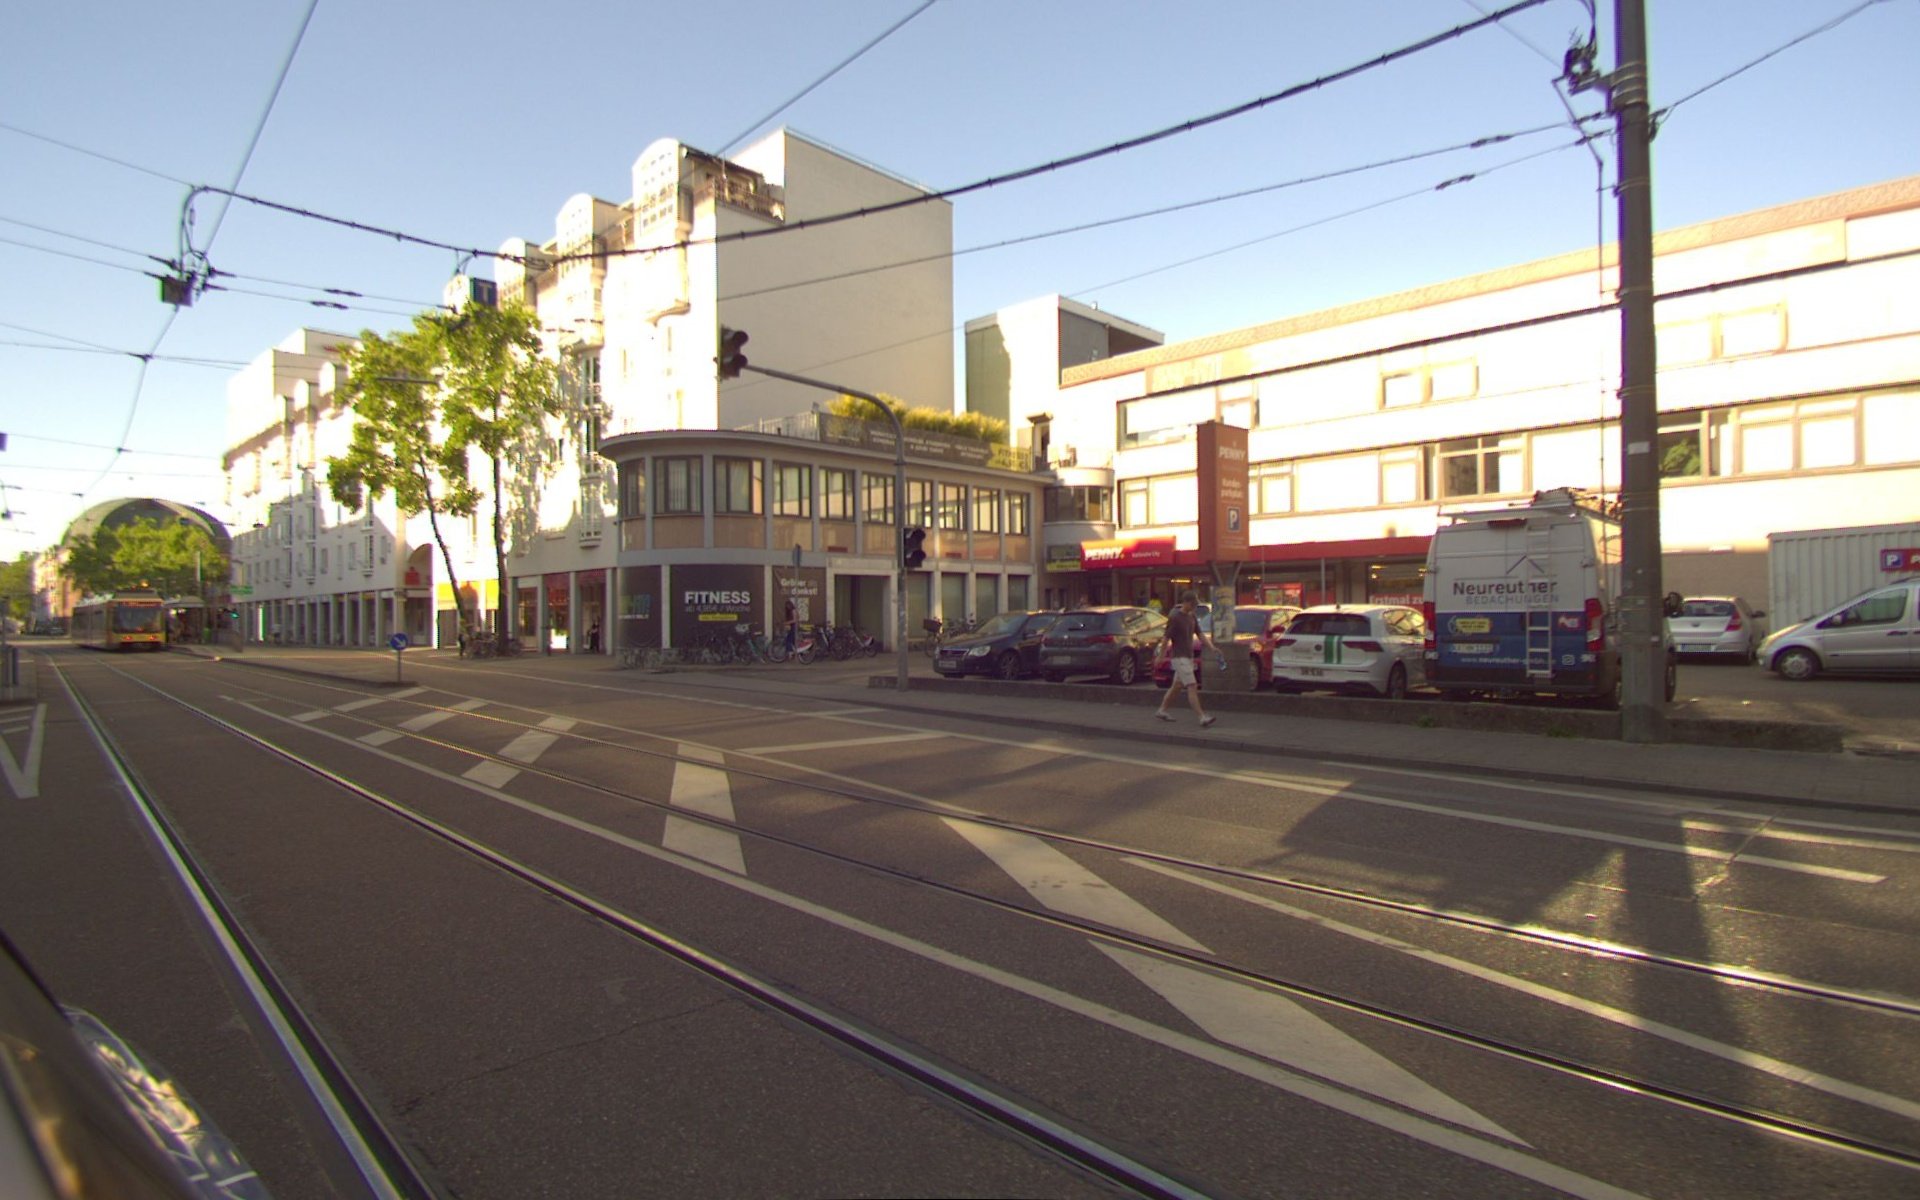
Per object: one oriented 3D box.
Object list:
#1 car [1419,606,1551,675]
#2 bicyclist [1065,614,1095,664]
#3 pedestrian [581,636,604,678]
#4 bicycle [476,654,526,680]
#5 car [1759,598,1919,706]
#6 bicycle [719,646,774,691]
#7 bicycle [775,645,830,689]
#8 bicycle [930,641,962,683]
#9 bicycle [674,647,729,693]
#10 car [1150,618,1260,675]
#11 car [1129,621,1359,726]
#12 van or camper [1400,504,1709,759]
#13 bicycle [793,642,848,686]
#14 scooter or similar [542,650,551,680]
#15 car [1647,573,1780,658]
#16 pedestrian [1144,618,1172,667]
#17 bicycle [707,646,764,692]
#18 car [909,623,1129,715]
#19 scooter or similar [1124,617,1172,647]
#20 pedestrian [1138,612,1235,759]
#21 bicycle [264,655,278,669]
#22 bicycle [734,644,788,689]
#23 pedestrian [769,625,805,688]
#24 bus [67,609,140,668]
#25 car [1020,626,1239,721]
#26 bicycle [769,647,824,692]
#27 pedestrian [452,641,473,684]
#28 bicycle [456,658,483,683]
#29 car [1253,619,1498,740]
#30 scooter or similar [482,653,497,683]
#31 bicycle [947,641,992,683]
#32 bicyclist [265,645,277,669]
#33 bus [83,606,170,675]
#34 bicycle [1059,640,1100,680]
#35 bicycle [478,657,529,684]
[{"bbox_3d":[13.241,0.956,25.422,2.000,1.519,3.944,-1,0,42],"label":"car"},{"bbox_3d":[3.840,1.256,32.333,0.688,1.561,0.829,-2,-1,28],"label":"bicyclist"},{"bbox_3d":[-15.524,2.377,42.715,0.622,1.729,0.826,-1,-1,-44],"label":"pedestrian"},{"bbox_3d":[-19.134,2.781,42.210,1.822,0.919,0.390,-3,0,-40],"label":"bicycle"},{"bbox_3d":[16.345,0.852,17.243,4.121,1.749,1.972,-2,-1,43],"label":"car"},{"bbox_3d":[-5.855,1.856,27.720,1.831,1.196,0.443,-2,-1,42],"label":"bicycle"},{"bbox_3d":[-4.448,1.878,28.522,1.831,1.196,0.443,-2,-1,42],"label":"bicycle"},{"bbox_3d":[-0.432,1.928,31.801,0.452,1.196,1.821,-2,-1,17],"label":"bicycle"},{"bbox_3d":[-7.084,1.908,27.675,1.829,1.196,0.441,-2,-1,39],"label":"bicycle"},{"bbox_3d":[7.441,1.359,30.416,1.873,1.486,4.553,-2,-1,32],"label":"car"},{"bbox_3d":[5.078,1.178,17.710,1.880,1.486,4.536,-2,-1,45],"label":"car"},{"bbox_3d":[8.439,0.354,14.089,5.542,2.848,2.316,-1,-1,-45],"label":"van or camper"},{"bbox_3d":[-4.000,1.820,28.946,1.831,1.196,0.443,-2,-1,42],"label":"bicycle"},{"bbox_3d":[-16.877,2.642,41.285,0.330,1.120,1.184,-1,0,-22],"label":"scooter or similar"},{"bbox_3d":[16.793,0.294,22.475,2.000,1.713,3.944,-2,0,42],"label":"car"},{"bbox_3d":[7.063,1.515,36.173,0.683,1.710,0.669,-3,-1,44],"label":"pedestrian"},{"bbox_3d":[-6.092,1.851,27.385,1.829,1.196,0.436,-2,-1,39],"label":"bicycle"},{"bbox_3d":[1.357,1.361,21.388,1.880,1.595,4.839,-2,-1,45],"label":"car"},{"bbox_3d":[6.239,1.051,33.581,1.247,0.968,0.903,-1,0,43],"label":"scooter or similar"},{"bbox_3d":[2.990,1.097,13.388,0.909,1.846,0.824,-2,-1,44],"label":"pedestrian"},{"bbox_3d":[-50.266,4.523,73.865,0.511,0.996,1.728,-3,1,-45],"label":"bicycle"},{"bbox_3d":[-5.520,1.825,27.980,1.831,1.196,0.438,-2,-1,42],"label":"bicycle"},{"bbox_3d":[-4.810,1.562,28.125,0.683,1.710,0.673,-2,-1,43],"label":"pedestrian"},{"bbox_3d":[-58.576,2.551,69.051,2.779,3.594,13.687,-1,-1,-44],"label":"bus"},{"bbox_3d":[3.378,1.325,19.579,1.880,1.486,4.536,-2,-1,45],"label":"car"},{"bbox_3d":[-4.538,1.895,27.968,1.831,1.196,0.443,-2,-1,42],"label":"bicycle"},{"bbox_3d":[-20.474,2.556,41.659,0.621,1.729,0.827,-1,-1,-18],"label":"pedestrian"},{"bbox_3d":[-20.125,2.888,41.500,0.384,0.919,1.852,-3,1,-44],"label":"bicycle"},{"bbox_3d":[6.536,1.108,15.633,1.880,1.486,4.536,-2,-1,45],"label":"car"},{"bbox_3d":[-21.123,3.035,45.409,0.372,1.288,1.183,-4,1,-34],"label":"scooter or similar"},{"bbox_3d":[0.304,1.885,31.124,0.349,1.196,1.808,-2,-1,37],"label":"bicycle"},{"bbox_3d":[-50.277,4.152,73.844,0.507,1.713,0.808,-3,1,-45],"label":"bicyclist"},{"bbox_3d":[-49.098,2.291,59.388,2.779,3.594,13.687,-1,-1,-44],"label":"bus"},{"bbox_3d":[3.843,1.894,32.302,0.680,1.179,1.814,-2,-1,27],"label":"bicycle"},{"bbox_3d":[-18.593,2.871,41.222,1.822,0.919,0.390,-3,1,-40],"label":"bicycle"}]
